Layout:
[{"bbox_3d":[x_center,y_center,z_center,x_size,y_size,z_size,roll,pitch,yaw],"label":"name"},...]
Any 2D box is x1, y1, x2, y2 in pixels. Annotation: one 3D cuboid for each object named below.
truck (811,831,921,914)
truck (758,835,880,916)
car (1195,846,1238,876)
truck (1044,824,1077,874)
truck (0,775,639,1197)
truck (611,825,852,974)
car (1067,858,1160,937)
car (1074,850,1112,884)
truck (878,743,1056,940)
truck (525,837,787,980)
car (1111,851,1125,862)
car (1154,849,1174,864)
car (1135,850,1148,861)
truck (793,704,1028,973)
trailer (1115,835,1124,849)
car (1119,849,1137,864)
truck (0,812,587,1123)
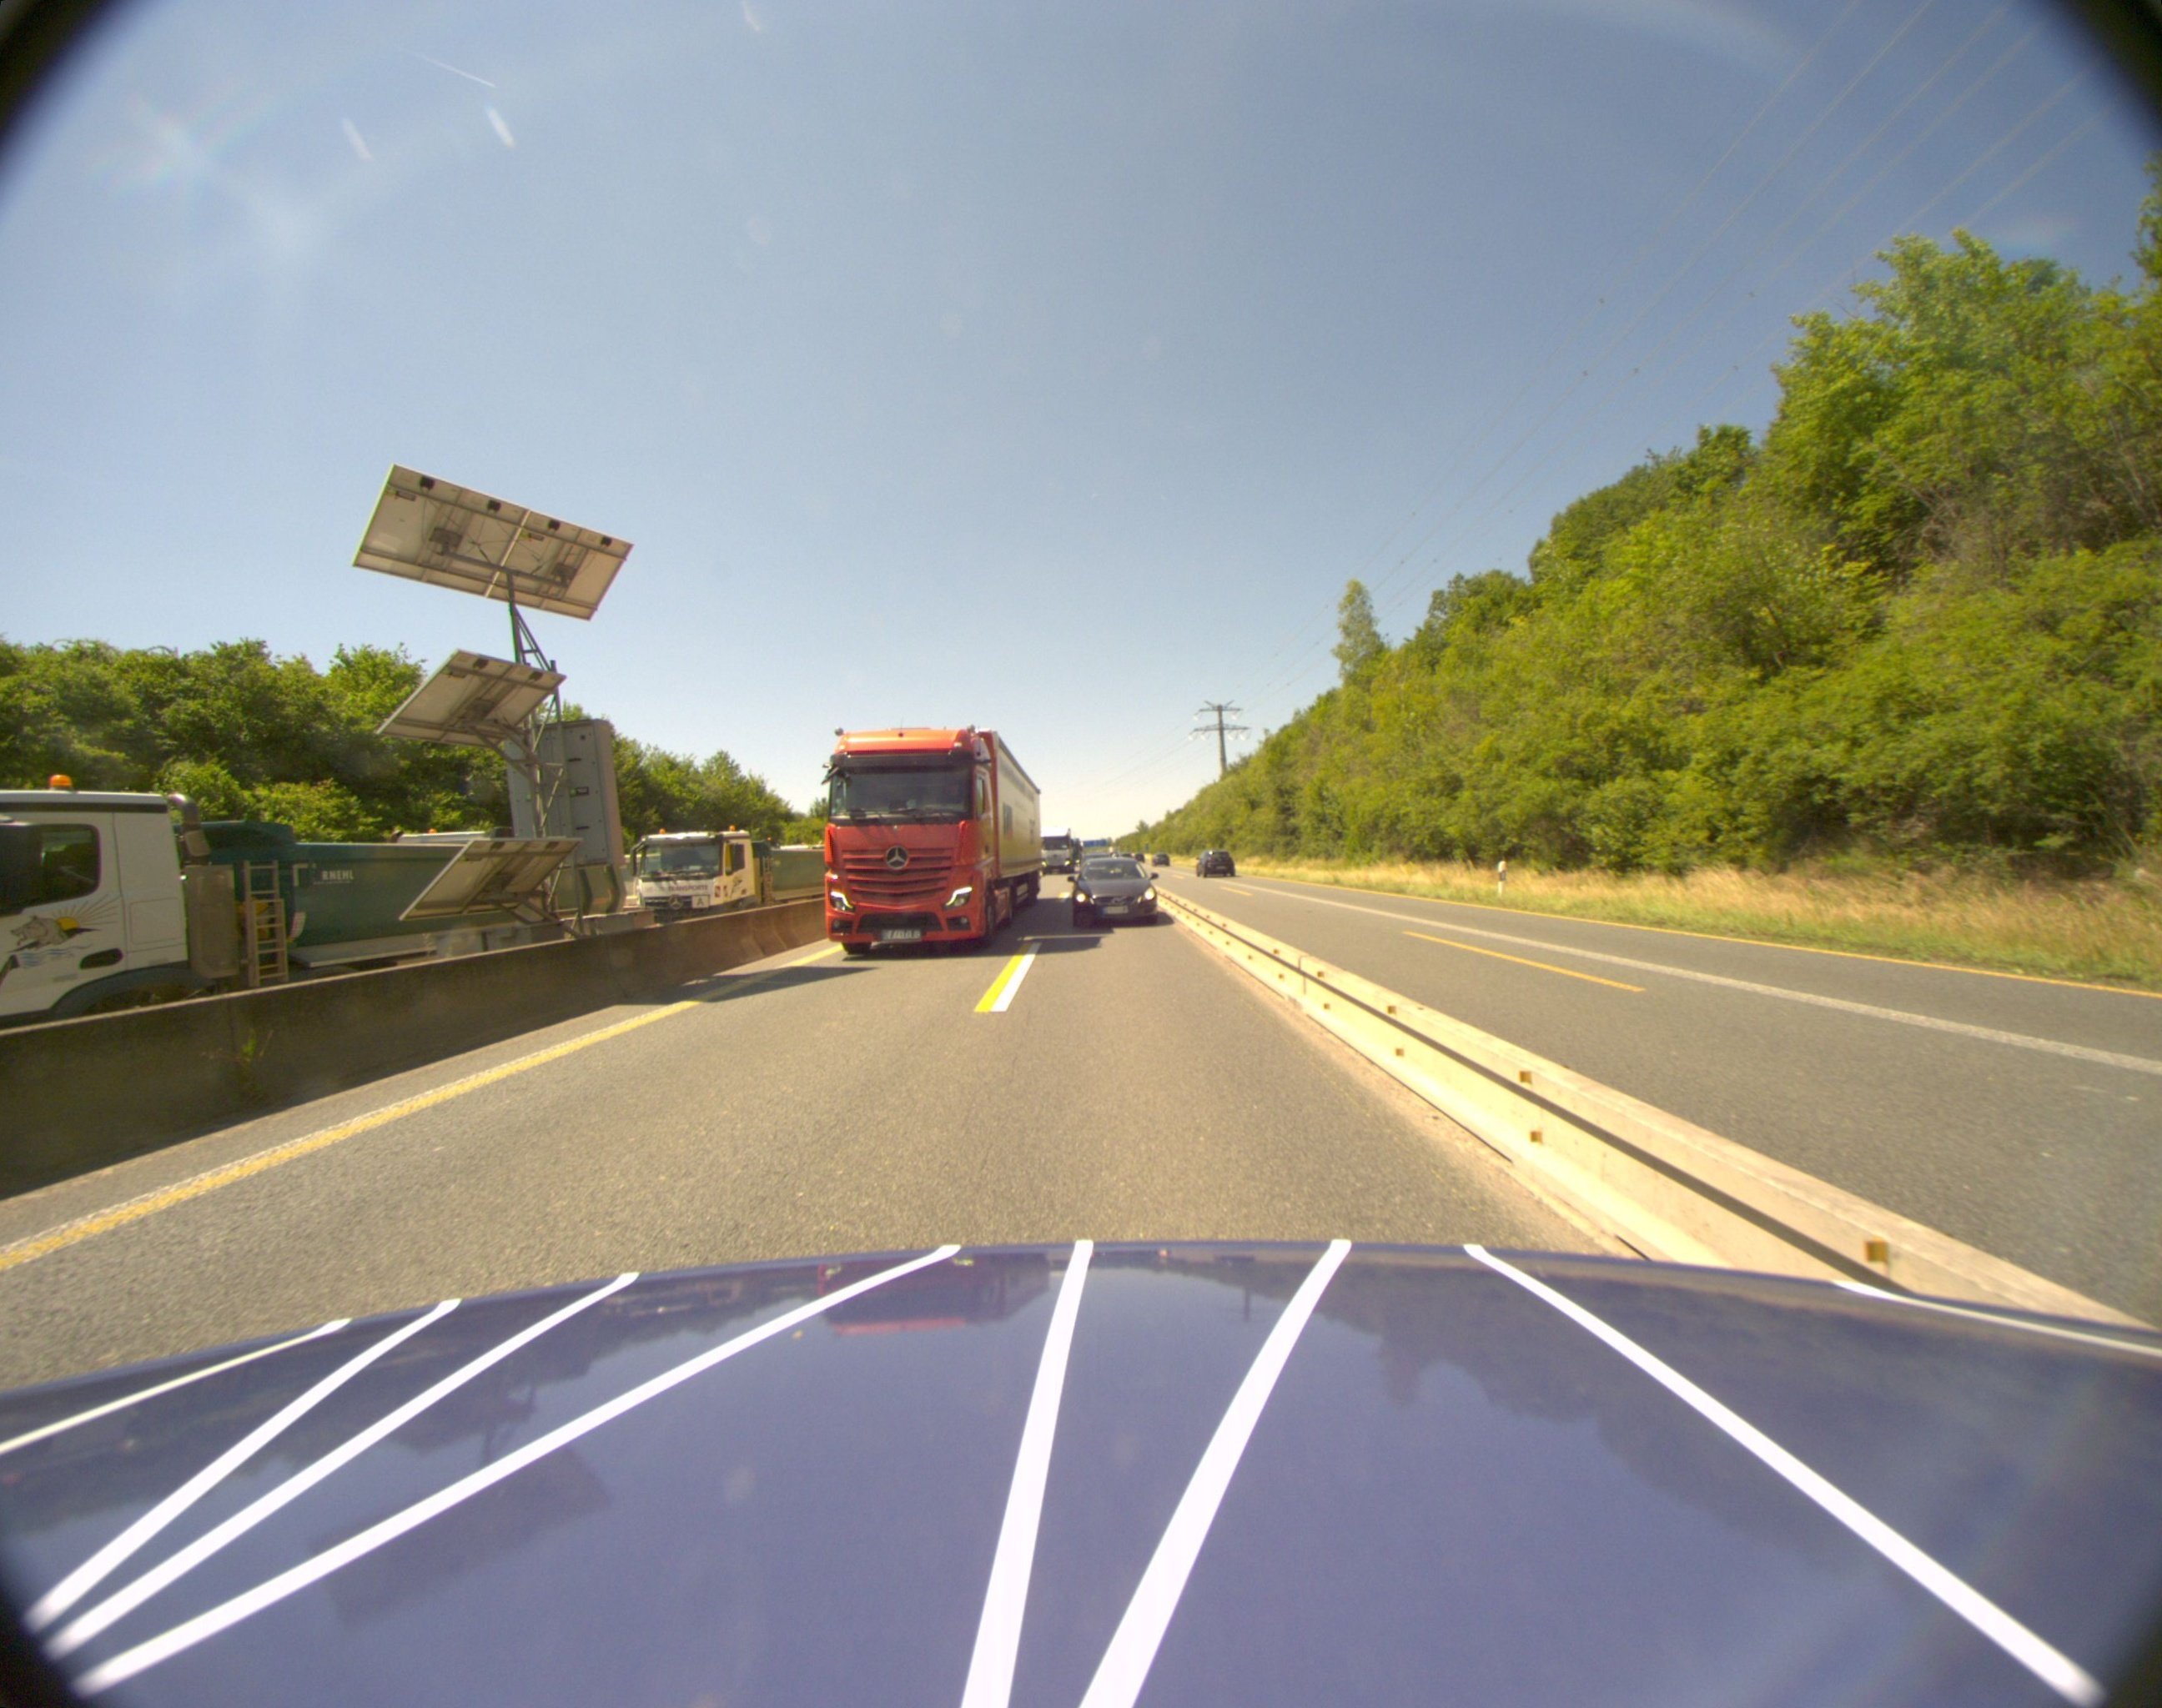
[{"bbox_3d":[-10.536,0.797,38.413,2.545,3.536,9.602,-2,0,1],"label":"truck"},{"bbox_3d":[-13.134,0.946,39.257,2.694,3.536,9.602,-2,0,1],"label":"truck"},{"bbox_3d":[7.798,0.364,44.069,1.783,1.567,4.069,-2,0,1],"label":"car"},{"bbox_3d":[-1.714,-0.449,68.916,2.481,4.030,13.109,-2,0,0],"label":"truck"},{"bbox_3d":[-10.327,1.130,10.393,2.694,3.536,9.406,-2,0,2],"label":"truck"},{"bbox_3d":[-9.985,1.103,23.375,2.694,3.536,9.602,-2,0,1],"label":"truck"},{"bbox_3d":[0.715,0.856,17.092,1.767,1.411,4.699,-2,1,2],"label":"car"},{"bbox_3d":[0.651,0.605,38.888,1.767,1.523,4.699,-3,1,2],"label":"car"},{"bbox_3d":[-2.590,-0.344,22.408,2.689,3.987,13.218,-3,1,2],"label":"truck"},{"bbox_3d":[-12.698,1.378,24.203,2.694,3.536,9.602,-2,0,1],"label":"truck"},{"bbox_3d":[5.367,0.350,110.274,1.848,1.524,4.671,-4,0,1],"label":"car"},{"bbox_3d":[9.059,0.298,83.242,1.727,1.513,4.185,-2,0,1],"label":"car"},{"bbox_3d":[9.506,0.231,118.892,1.704,1.556,3.994,-3,0,1],"label":"car"},{"bbox_3d":[-2.833,-0.269,14.950,2.688,3.987,6.725,-3,1,2],"label":"truck"},{"bbox_3d":[12.767,-3.924,253.429,2.644,4.287,8.447,-3,0,1],"label":"trailer"},{"bbox_3d":[5.458,0.252,88.597,1.848,1.601,4.699,-4,0,1],"label":"car"},{"bbox_3d":[-12.950,1.254,12.736,2.694,3.358,9.603,-2,0,2],"label":"truck"}]
